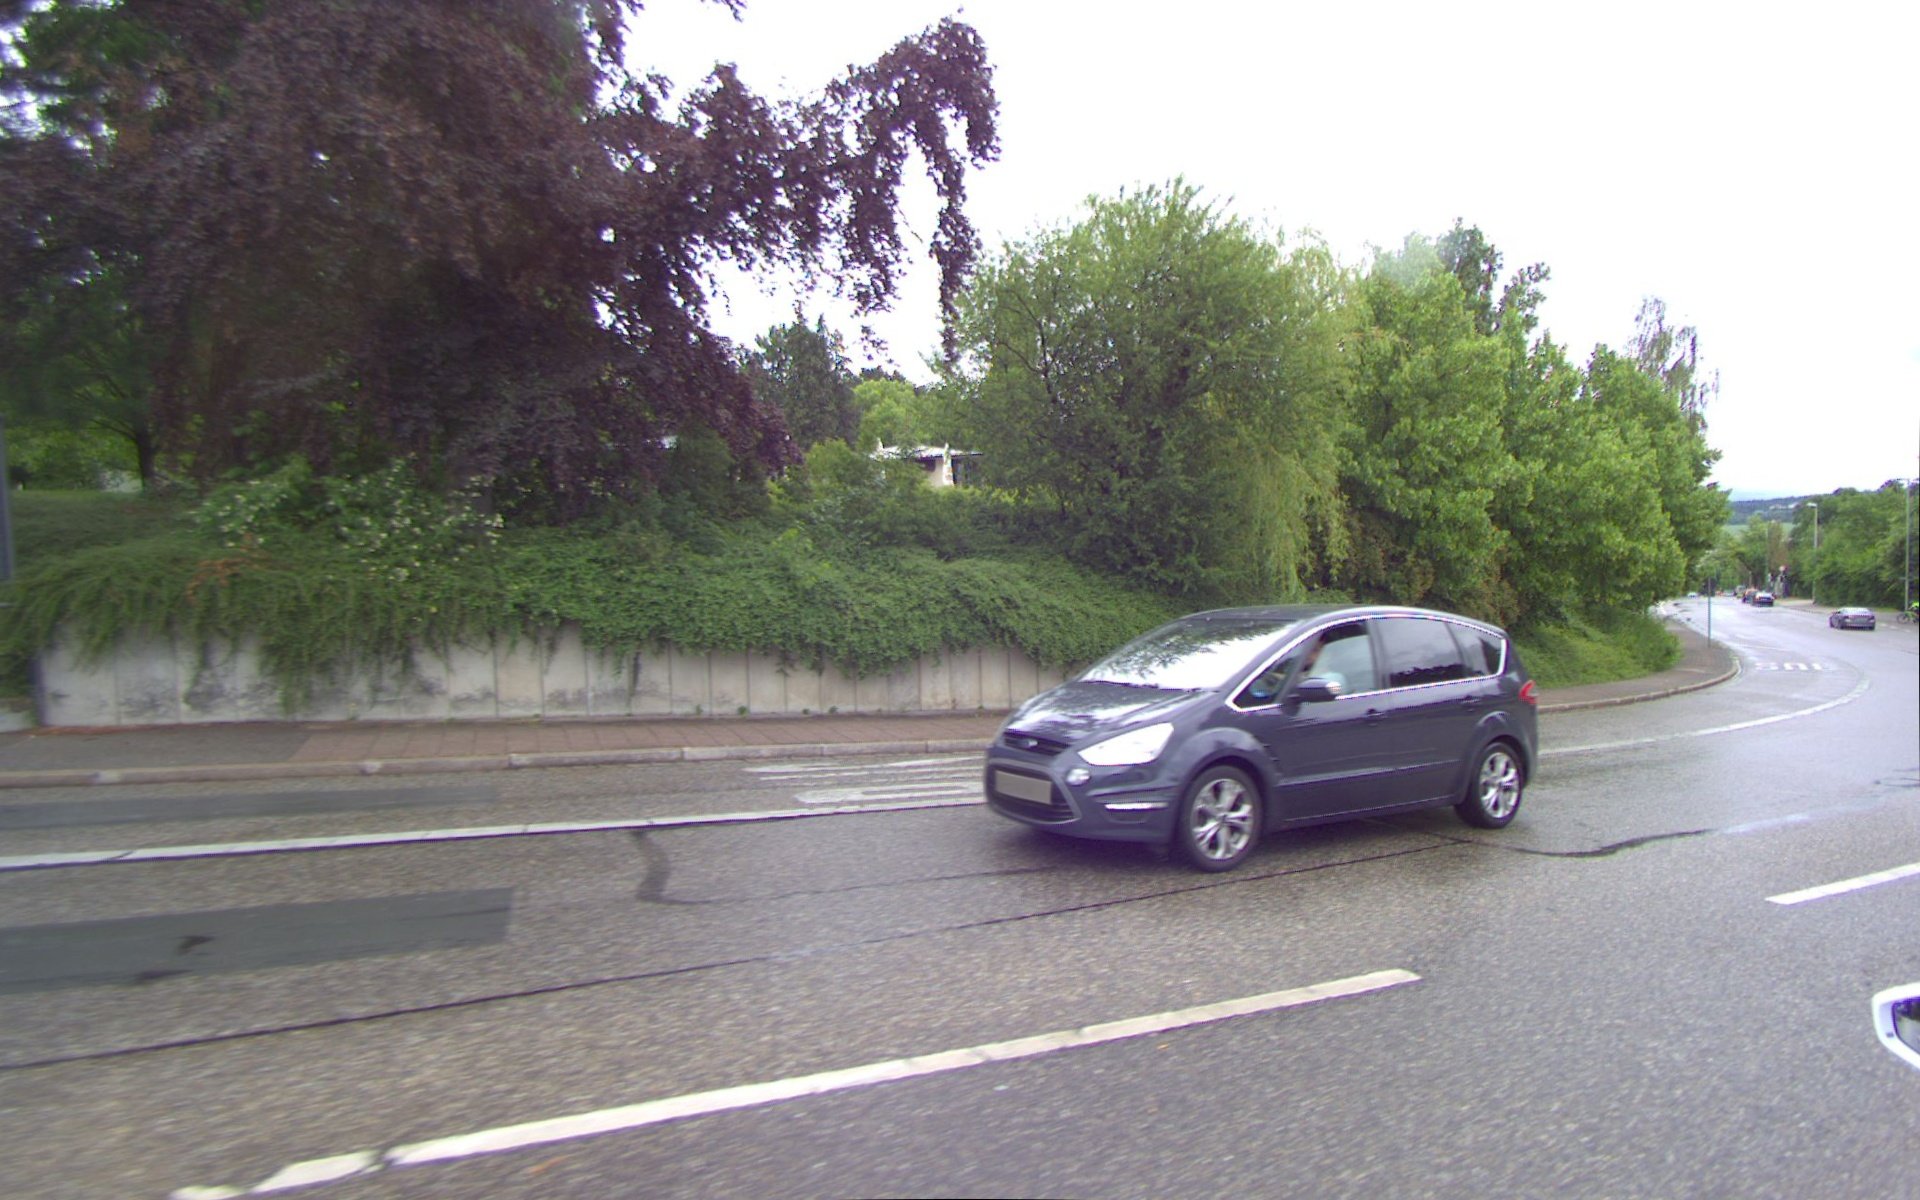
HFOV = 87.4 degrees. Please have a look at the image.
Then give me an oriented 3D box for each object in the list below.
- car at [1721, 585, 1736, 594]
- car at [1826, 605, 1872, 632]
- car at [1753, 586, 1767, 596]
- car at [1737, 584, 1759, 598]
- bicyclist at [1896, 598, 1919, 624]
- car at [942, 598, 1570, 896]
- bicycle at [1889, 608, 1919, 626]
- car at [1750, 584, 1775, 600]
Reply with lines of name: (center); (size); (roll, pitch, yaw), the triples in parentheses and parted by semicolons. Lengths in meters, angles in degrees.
car: (125.249, -1.721, 163.646); (1.698, 1.484, 3.986); (4, 3, 35)
car: (58.509, 1.193, 66.170); (1.698, 1.484, 3.986); (4, 3, 35)
car: (132.988, -1.488, 167.049); (1.700, 1.483, 3.984); (-1, 0, 37)
car: (90.470, -1.057, 115.340); (1.698, 1.484, 3.986); (4, 3, 35)
bicyclist: (66.194, 0.757, 69.916); (0.840, 1.779, 1.282); (0, 0, -13)
car: (2.316, 0.827, 7.383); (4.633, 1.598, 1.801); (1, 0, -32)
bicycle: (66.177, 1.176, 69.988); (0.840, 1.171, 2.033); (0, 0, -13)
car: (81.225, -0.860, 101.692); (1.698, 1.484, 3.986); (4, 3, 35)
